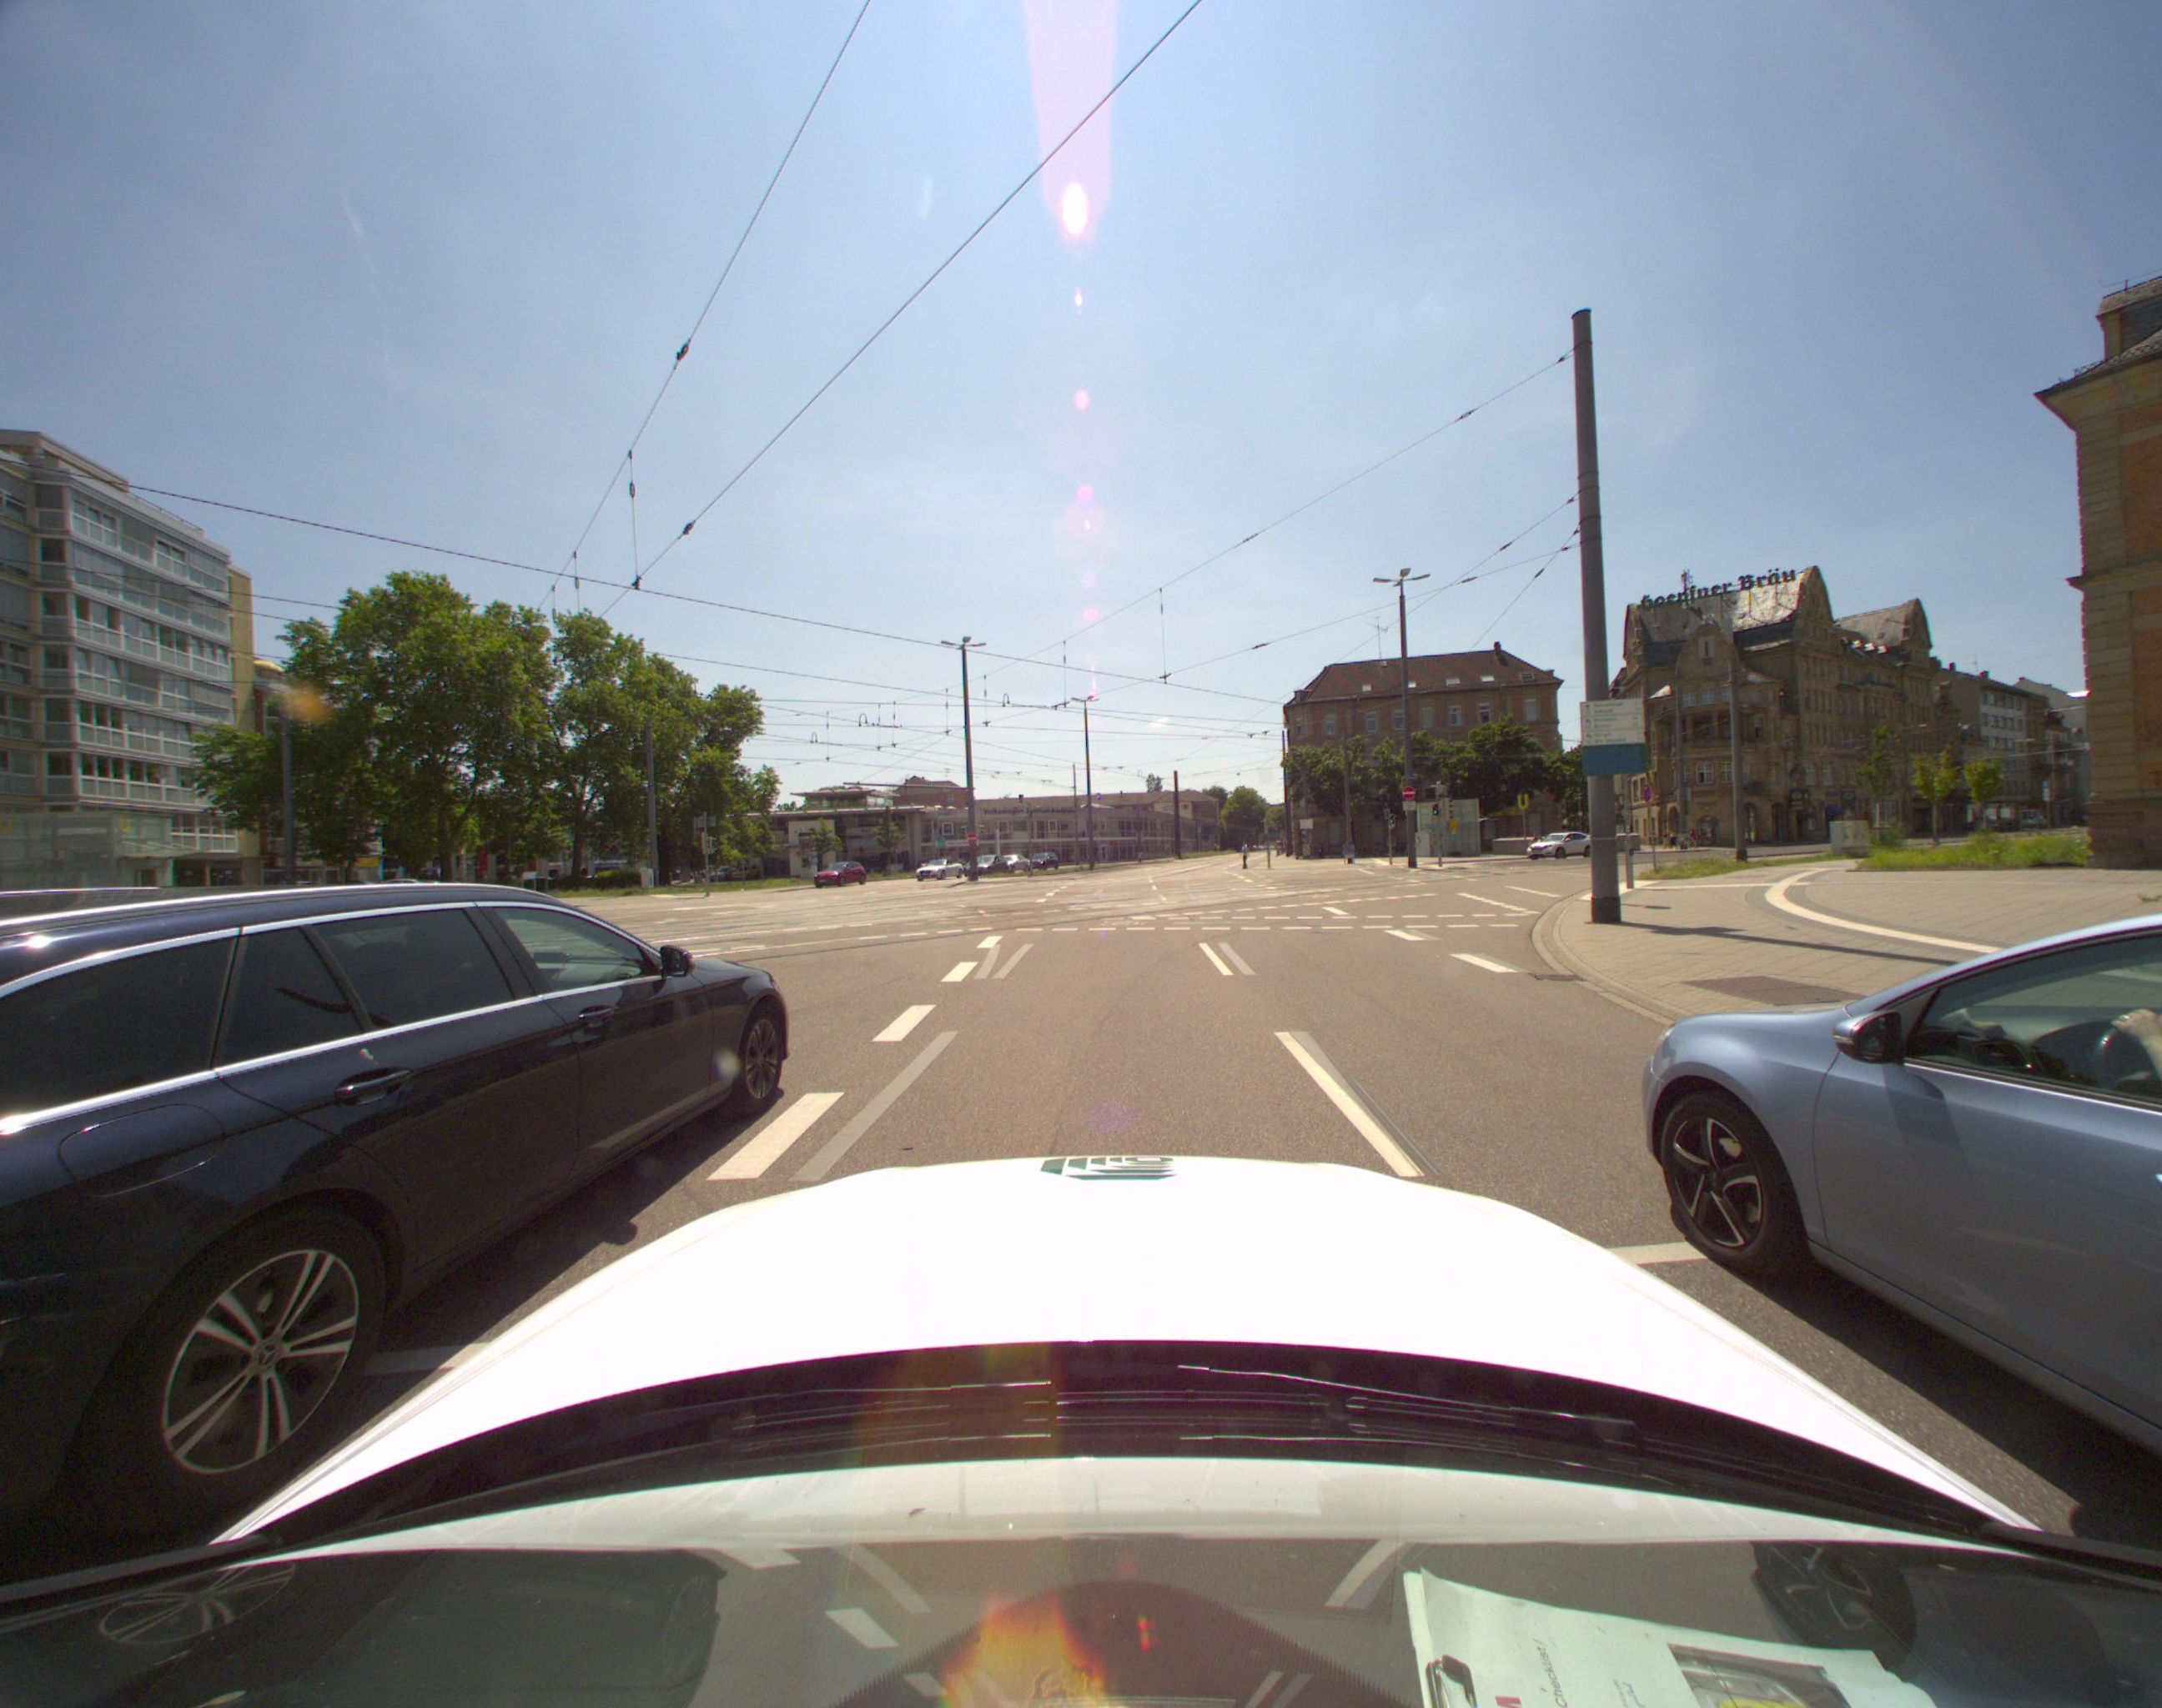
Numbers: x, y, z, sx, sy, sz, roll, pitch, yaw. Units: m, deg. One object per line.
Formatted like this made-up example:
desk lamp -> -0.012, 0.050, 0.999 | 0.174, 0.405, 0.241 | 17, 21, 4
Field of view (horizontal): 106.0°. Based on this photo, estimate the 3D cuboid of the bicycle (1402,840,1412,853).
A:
bicycle -> 28.031, -0.644, 69.975 | 0.547, 1.120, 1.938 | -2, 0, 16

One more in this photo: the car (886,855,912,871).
car -> -20.346, 0.991, 91.245 | 1.914, 1.707, 4.000 | 0, -1, 1

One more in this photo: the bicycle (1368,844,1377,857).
bicycle -> 24.958, -0.311, 69.665 | 0.547, 1.120, 1.828 | -2, 0, 16

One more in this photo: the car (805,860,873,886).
car -> -15.546, 1.209, 52.606 | 1.979, 1.465, 4.864 | -2, 0, 14

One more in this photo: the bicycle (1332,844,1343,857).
bicycle -> 22.067, -0.285, 70.194 | 0.548, 1.120, 1.824 | -2, 0, 7

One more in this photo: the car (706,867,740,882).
car -> -40.632, 2.284, 92.504 | 1.761, 1.510, 4.327 | -2, 0, 1

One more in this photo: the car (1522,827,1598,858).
car -> 27.978, -0.663, 47.539 | 4.199, 1.605, 1.681 | -2, 0, -24

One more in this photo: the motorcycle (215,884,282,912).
motorcycle -> -40.376, 2.149, 39.490 | 2.782, 1.222, 0.969 | -2, 0, 15

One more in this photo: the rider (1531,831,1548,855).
rider -> 30.682, -0.752, 54.507 | 0.878, 1.601, 0.559 | -2, 0, -32

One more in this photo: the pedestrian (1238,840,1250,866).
pedestrian -> 11.050, -0.056, 55.128 | 0.463, 1.708, 0.634 | -2, 0, -27

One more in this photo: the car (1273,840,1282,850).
car -> 47.763, -2.134, 197.927 | 1.979, 2.181, 4.386 | -1, -1, 15

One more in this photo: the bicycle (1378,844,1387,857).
bicycle -> 25.774, -0.317, 69.658 | 0.547, 1.120, 1.897 | -2, 0, 16

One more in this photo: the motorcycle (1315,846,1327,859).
motorcycle -> 20.704, -0.139, 70.385 | 0.577, 1.074, 1.948 | -2, 0, 4

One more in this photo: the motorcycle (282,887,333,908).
motorcycle -> -41.992, 2.355, 44.245 | 1.926, 0.961, 0.520 | -2, 0, -30

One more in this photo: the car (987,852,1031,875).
car -> -5.939, 0.735, 67.370 | 1.978, 1.739, 4.564 | -2, 0, 17

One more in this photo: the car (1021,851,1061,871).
car -> -3.575, 0.626, 74.242 | 2.062, 1.682, 4.868 | -2, 0, 17

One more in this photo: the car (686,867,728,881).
car -> -44.879, 2.386, 97.767 | 4.345, 1.510, 1.753 | -2, 0, -35

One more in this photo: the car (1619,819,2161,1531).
car -> 3.018, 0.649, 1.409 | 1.645, 1.459, 4.006 | -1, 0, 2

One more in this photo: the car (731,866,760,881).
car -> -37.978, 2.176, 92.222 | 1.764, 1.510, 4.320 | -2, 0, -4

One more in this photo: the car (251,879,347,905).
car -> -50.841, 2.429, 53.042 | 4.006, 1.420, 1.984 | -2, 0, -25

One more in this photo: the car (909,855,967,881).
car -> -9.614, 0.896, 55.281 | 2.062, 1.580, 4.864 | -2, 0, 14

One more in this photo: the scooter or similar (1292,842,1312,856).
scooter or similar -> 19.845, -0.426, 73.144 | 1.796, 1.181, 0.594 | -2, 0, -27

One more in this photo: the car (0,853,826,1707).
car -> -2.801, 0.830, 3.229 | 1.790, 1.640, 4.809 | -1, 0, 3

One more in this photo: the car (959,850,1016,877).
car -> -6.309, 0.605, 55.599 | 1.978, 1.637, 4.868 | -2, 0, 17

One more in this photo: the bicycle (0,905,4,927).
bicycle -> -50.863, 2.915, 37.681 | 0.432, 1.026, 1.436 | -2, 0, -16

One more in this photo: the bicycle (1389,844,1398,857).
bicycle -> 26.862, -0.319, 70.039 | 0.547, 1.120, 1.879 | -2, 0, 16

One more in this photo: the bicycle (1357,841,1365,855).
bicycle -> 24.054, -0.540, 69.959 | 0.547, 1.120, 1.828 | -2, 0, 16

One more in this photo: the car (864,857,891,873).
car -> -22.704, 1.201, 91.057 | 1.914, 1.707, 4.000 | 0, -1, 1
